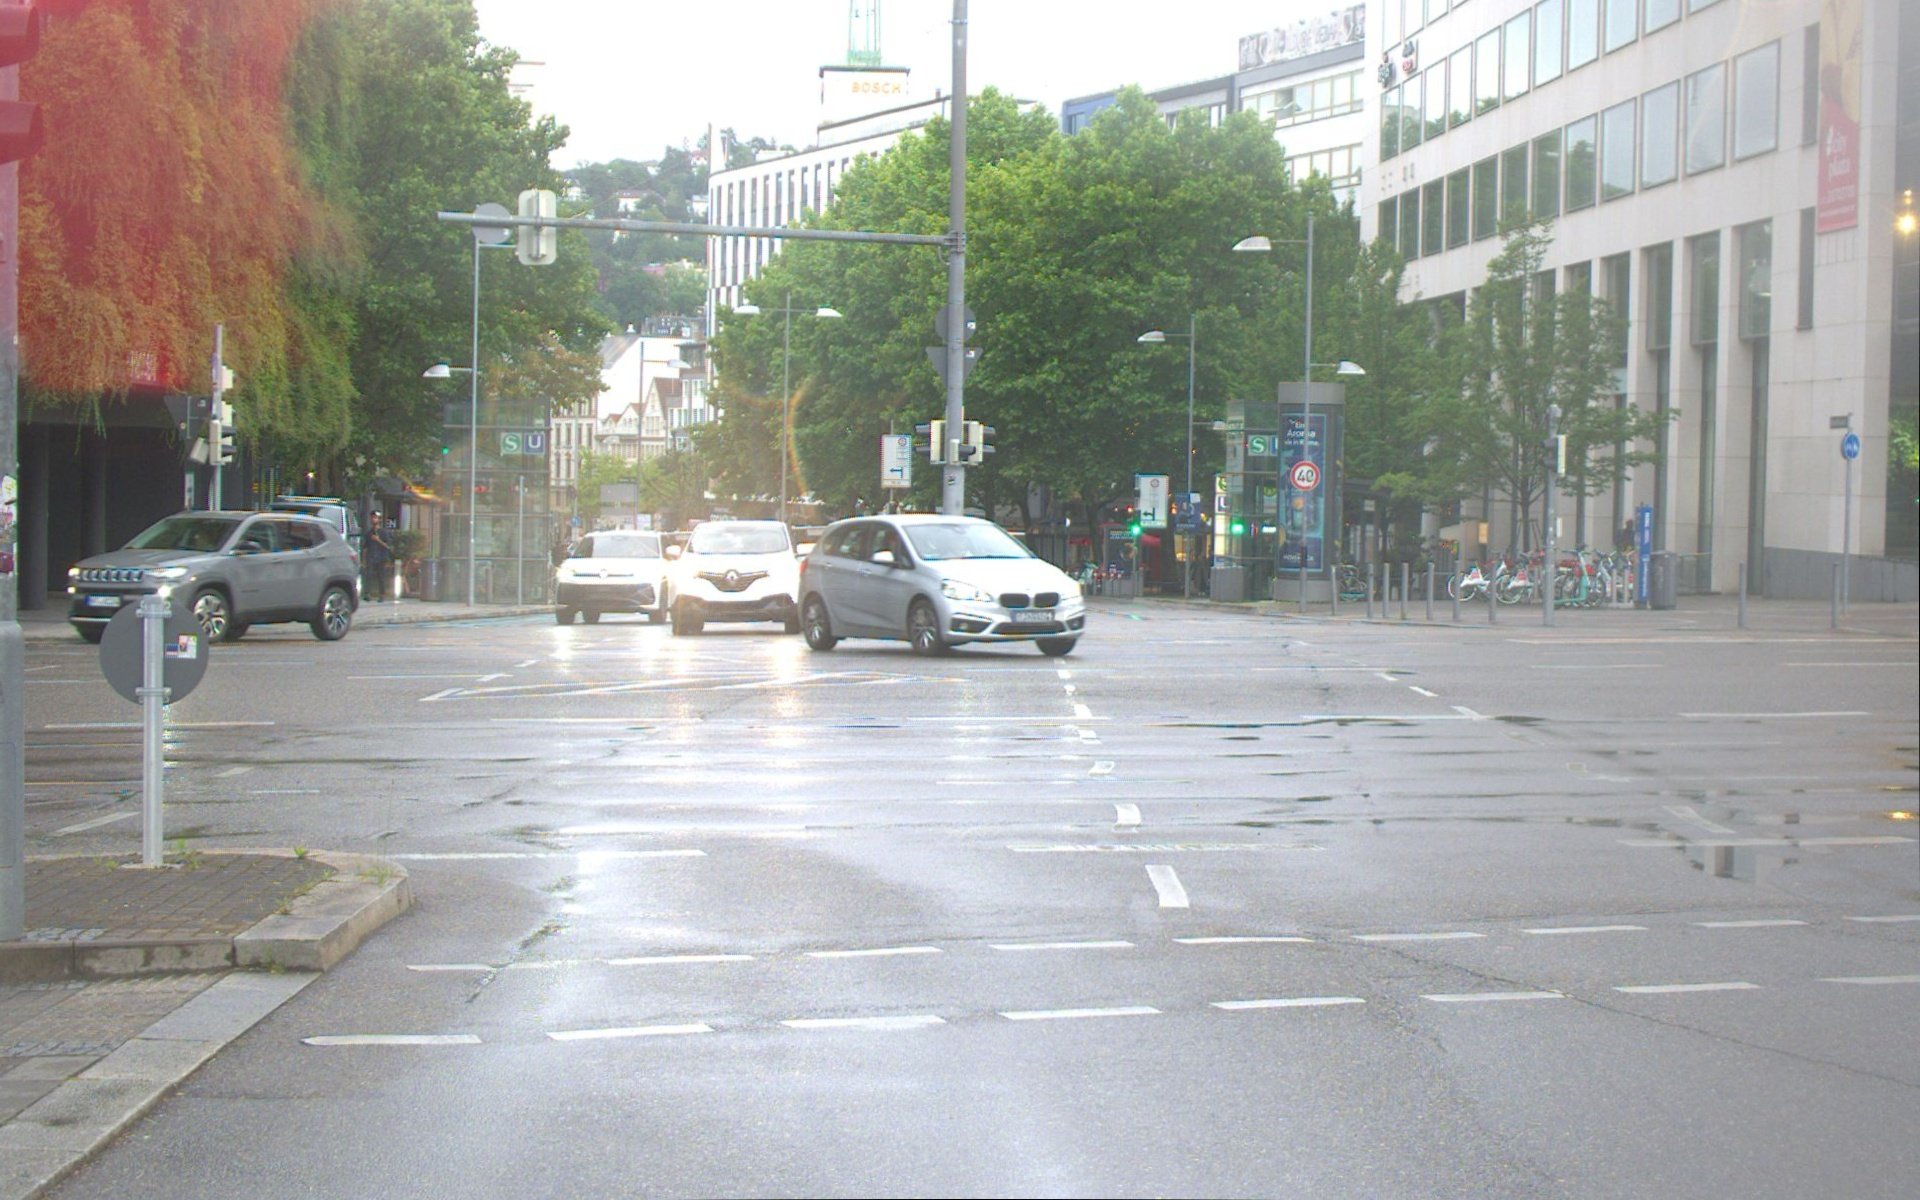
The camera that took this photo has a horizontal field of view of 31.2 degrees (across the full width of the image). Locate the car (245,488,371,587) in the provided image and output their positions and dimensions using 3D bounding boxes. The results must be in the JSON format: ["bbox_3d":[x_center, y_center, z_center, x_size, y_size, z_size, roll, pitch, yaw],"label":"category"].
[{"bbox_3d":[-12.918,-1.251,68.298,1.993,1.888,4.466,0,1,-5],"label":"car"}]

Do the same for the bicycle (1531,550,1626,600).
[{"bbox_3d":[11.831,-0.482,65.824,1.799,0.931,0.474,1,1,41],"label":"bicycle"}]

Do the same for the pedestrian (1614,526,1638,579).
[{"bbox_3d":[14.839,-1.061,76.607,0.414,1.169,0.353,1,1,39],"label":"pedestrian"}]

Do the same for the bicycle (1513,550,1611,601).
[{"bbox_3d":[11.241,-0.458,64.216,1.799,0.931,0.474,1,1,41],"label":"bicycle"}]

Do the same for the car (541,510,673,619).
[{"bbox_3d":[-6.114,-0.649,60.023,2.175,1.817,4.645,0,1,-4],"label":"car"}]

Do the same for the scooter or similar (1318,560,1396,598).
[{"bbox_3d":[9.216,-0.500,79.806,1.745,0.875,0.489,0,1,-19],"label":"scooter or similar"}]

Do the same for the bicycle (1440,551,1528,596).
[{"bbox_3d":[11.079,-0.559,72.746,1.794,0.931,0.475,0,1,3],"label":"bicycle"}]

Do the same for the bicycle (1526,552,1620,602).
[{"bbox_3d":[11.860,-0.455,66.569,1.799,0.931,0.474,1,1,41],"label":"bicycle"}]

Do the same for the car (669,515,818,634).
[{"bbox_3d":[-3.073,-0.405,48.715,1.993,1.524,4.557,0,2,-4],"label":"car"}]

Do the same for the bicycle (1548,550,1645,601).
[{"bbox_3d":[12.006,-0.468,64.858,1.799,0.931,0.474,1,1,41],"label":"bicycle"}]

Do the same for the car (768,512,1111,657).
[{"bbox_3d":[-0.308,-0.226,38.454,1.993,1.438,4.557,-1,3,-27],"label":"car"}]

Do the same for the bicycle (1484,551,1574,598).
[{"bbox_3d":[11.731,-0.528,70.897,1.794,0.931,0.475,0,1,3],"label":"bicycle"}]

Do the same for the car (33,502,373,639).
[{"bbox_3d":[-9.260,-0.391,42.441,1.996,1.592,4.460,1,1,21],"label":"car"}]

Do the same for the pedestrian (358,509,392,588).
[{"bbox_3d":[-11.358,-1.001,66.765,0.607,1.519,0.588,0,1,-5],"label":"pedestrian"}]
